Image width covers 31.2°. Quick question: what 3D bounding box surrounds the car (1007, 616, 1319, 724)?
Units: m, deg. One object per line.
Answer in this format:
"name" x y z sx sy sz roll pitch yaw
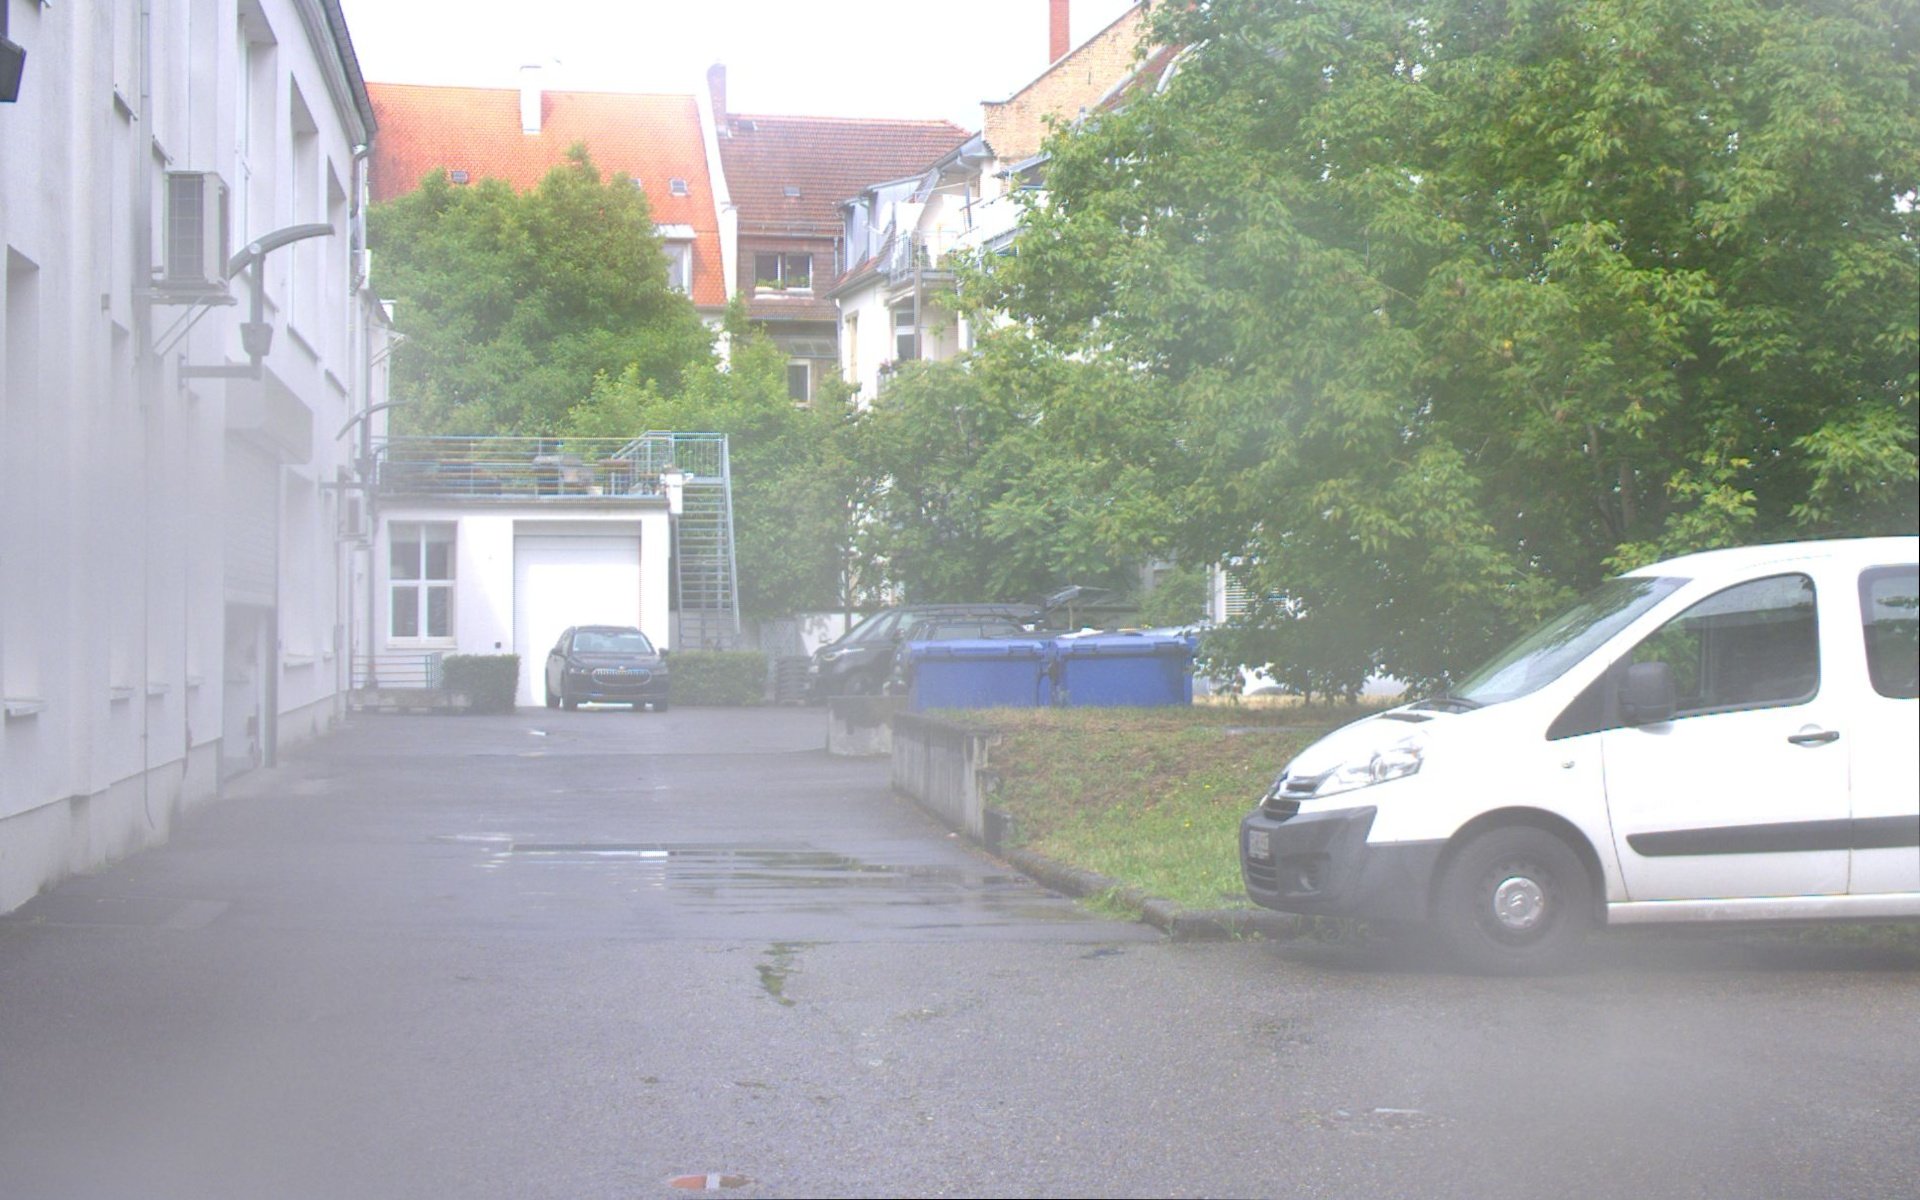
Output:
"car" 2.801 0.963 47.812 3.986 1.453 1.773 0 -1 -12

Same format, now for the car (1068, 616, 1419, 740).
"car" 3.499 0.955 42.721 3.986 1.441 1.807 -1 -1 -10

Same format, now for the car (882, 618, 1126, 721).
"car" 0.724 1.176 58.823 3.908 1.682 1.817 -1 -1 -9

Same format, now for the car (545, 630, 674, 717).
"car" -6.190 1.264 60.318 1.978 1.439 4.001 1 -1 -9

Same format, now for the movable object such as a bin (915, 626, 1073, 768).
"movable object such as a bin" 0.311 0.906 32.460 1.371 1.300 1.083 0 -1 -5

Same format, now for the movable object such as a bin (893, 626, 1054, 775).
"movable object such as a bin" 0.110 0.887 30.761 1.337 1.287 1.095 0 0 -5

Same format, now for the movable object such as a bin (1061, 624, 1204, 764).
"movable object such as a bin" 1.634 0.889 32.714 1.185 1.300 1.107 0 -1 -6

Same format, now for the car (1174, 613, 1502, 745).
"car" 4.355 0.908 39.854 3.414 1.422 1.688 -1 -1 -10

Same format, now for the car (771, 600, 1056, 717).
"car" -0.846 1.010 61.342 4.634 1.996 2.226 0 0 -17

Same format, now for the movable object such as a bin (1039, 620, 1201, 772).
"movable object such as a bin" 1.430 0.854 30.983 1.292 1.332 1.197 0 -1 -5

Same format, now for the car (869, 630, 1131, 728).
"car" 0.631 1.270 55.494 3.908 1.508 1.752 -1 -1 -12

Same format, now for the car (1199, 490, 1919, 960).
"car" 3.685 0.586 15.641 4.872 1.919 2.100 1 -2 -5
